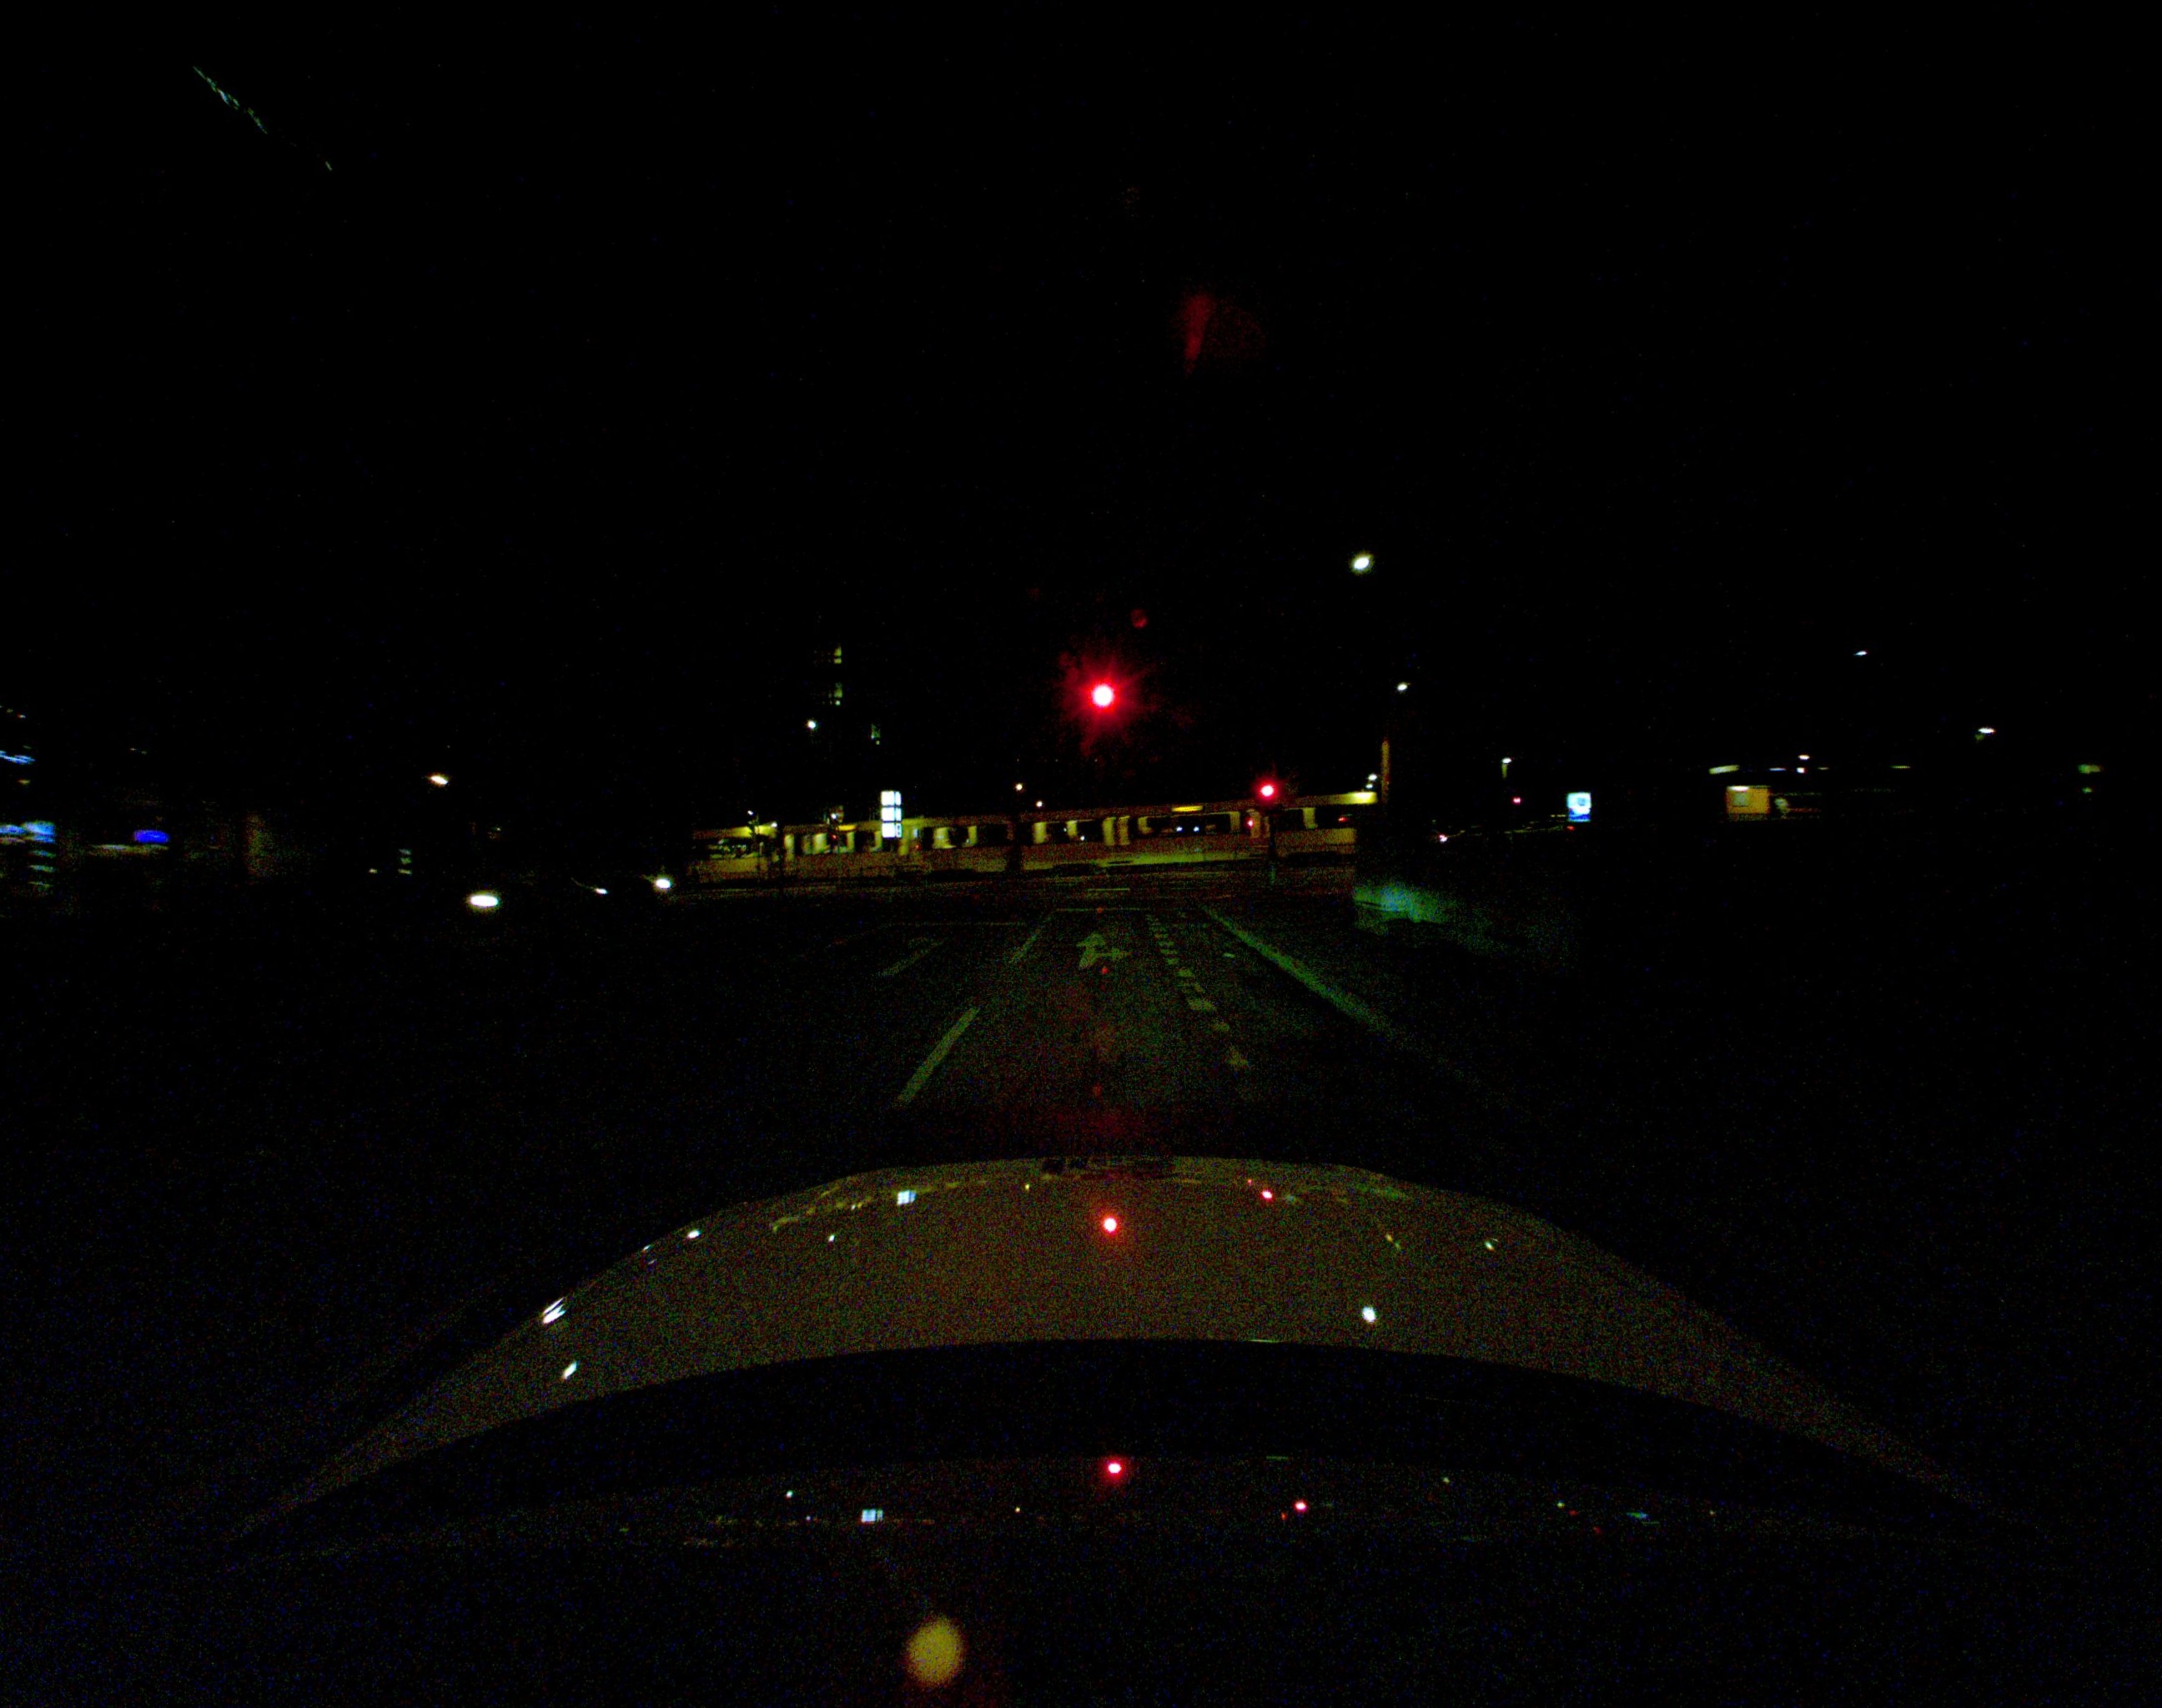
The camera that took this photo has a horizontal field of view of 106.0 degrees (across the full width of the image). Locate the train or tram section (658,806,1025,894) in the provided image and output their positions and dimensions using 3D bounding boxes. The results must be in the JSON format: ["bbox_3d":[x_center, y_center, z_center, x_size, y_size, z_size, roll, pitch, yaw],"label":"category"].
[{"bbox_3d":[-13.146,-0.176,44.870,19.685,3.861,2.946,-2,0,7],"label":"train or tram section"}]

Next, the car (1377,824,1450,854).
[{"bbox_3d":[21.671,-0.955,53.237,4.033,1.615,1.874,-4,0,10],"label":"car"}]

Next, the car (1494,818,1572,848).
[{"bbox_3d":[29.228,-1.349,52.800,3.960,1.574,1.892,-5,0,12],"label":"car"}]

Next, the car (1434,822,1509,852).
[{"bbox_3d":[23.863,-1.057,49.873,3.741,1.527,1.764,-4,0,10],"label":"car"}]

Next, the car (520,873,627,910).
[{"bbox_3d":[-23.008,1.674,36.995,3.740,1.480,1.914,-2,0,9],"label":"car"}]

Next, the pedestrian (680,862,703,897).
[{"bbox_3d":[-20.366,1.311,42.557,0.761,1.737,0.660,-3,1,2],"label":"pedestrian"}]

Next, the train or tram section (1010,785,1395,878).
[{"bbox_3d":[6.031,-1.082,42.533,19.069,3.823,2.930,-3,0,7],"label":"train or tram section"}]

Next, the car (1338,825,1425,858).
[{"bbox_3d":[18.277,-0.744,49.697,4.588,1.640,2.004,-4,0,7],"label":"car"}]

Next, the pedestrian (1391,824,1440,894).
[{"bbox_3d":[8.562,0.119,20.864,0.895,1.712,0.776,-4,-1,7],"label":"pedestrian"}]
